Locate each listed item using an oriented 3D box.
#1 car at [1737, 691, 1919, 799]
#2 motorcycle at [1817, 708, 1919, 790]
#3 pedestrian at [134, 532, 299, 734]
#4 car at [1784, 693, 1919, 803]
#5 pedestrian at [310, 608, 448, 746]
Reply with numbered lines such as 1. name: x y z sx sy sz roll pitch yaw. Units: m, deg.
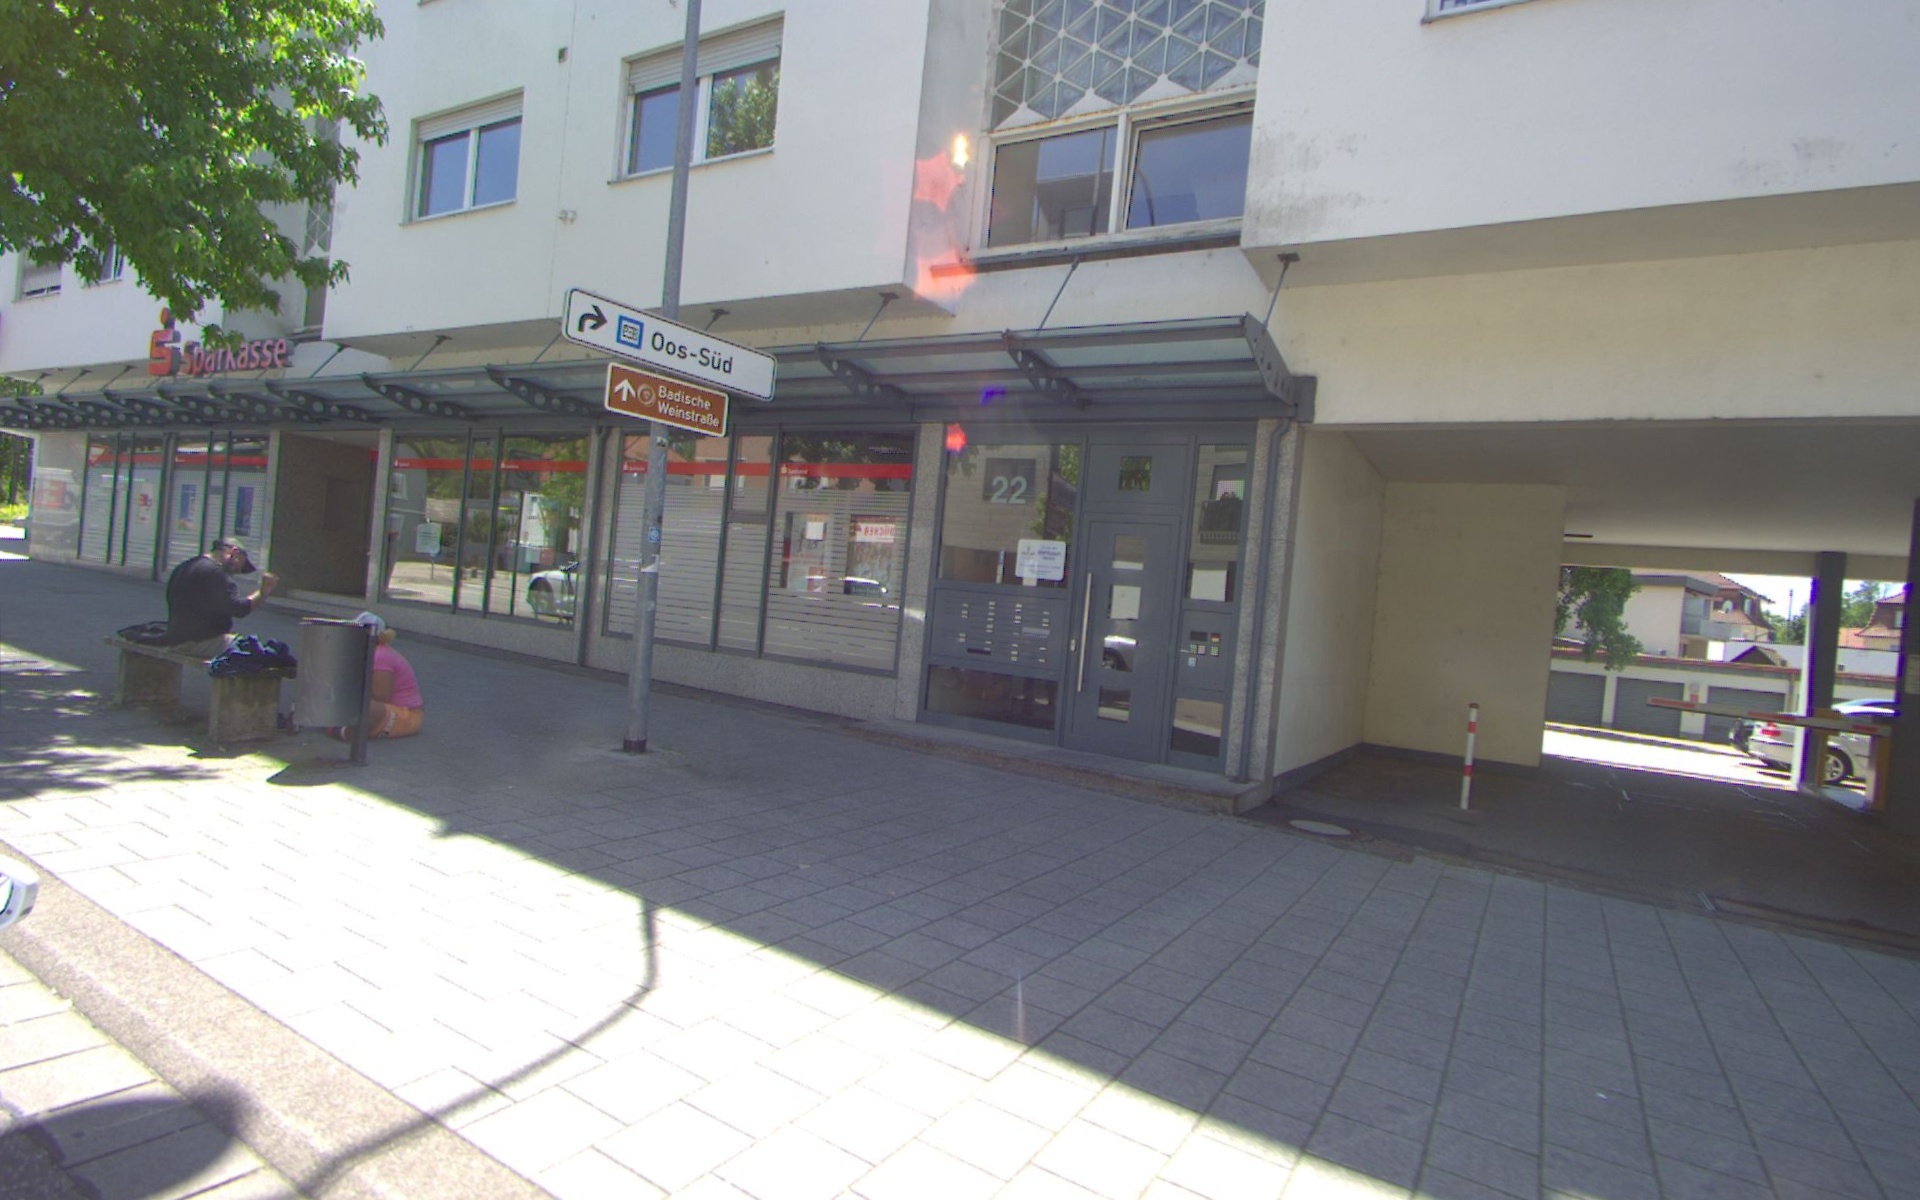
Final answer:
1. car: 16.347 2.621 17.686 3.933 1.471 1.731 6 0 31
2. motorcycle: 18.170 2.903 19.119 2.560 1.308 1.307 6 0 31
3. pedestrian: -4.978 0.224 6.745 0.758 1.256 0.531 4 2 -44
4. car: 15.728 2.482 15.814 3.933 1.471 1.731 6 0 31
5. pedestrian: -4.027 0.529 6.979 0.675 0.863 0.531 4 2 -44
